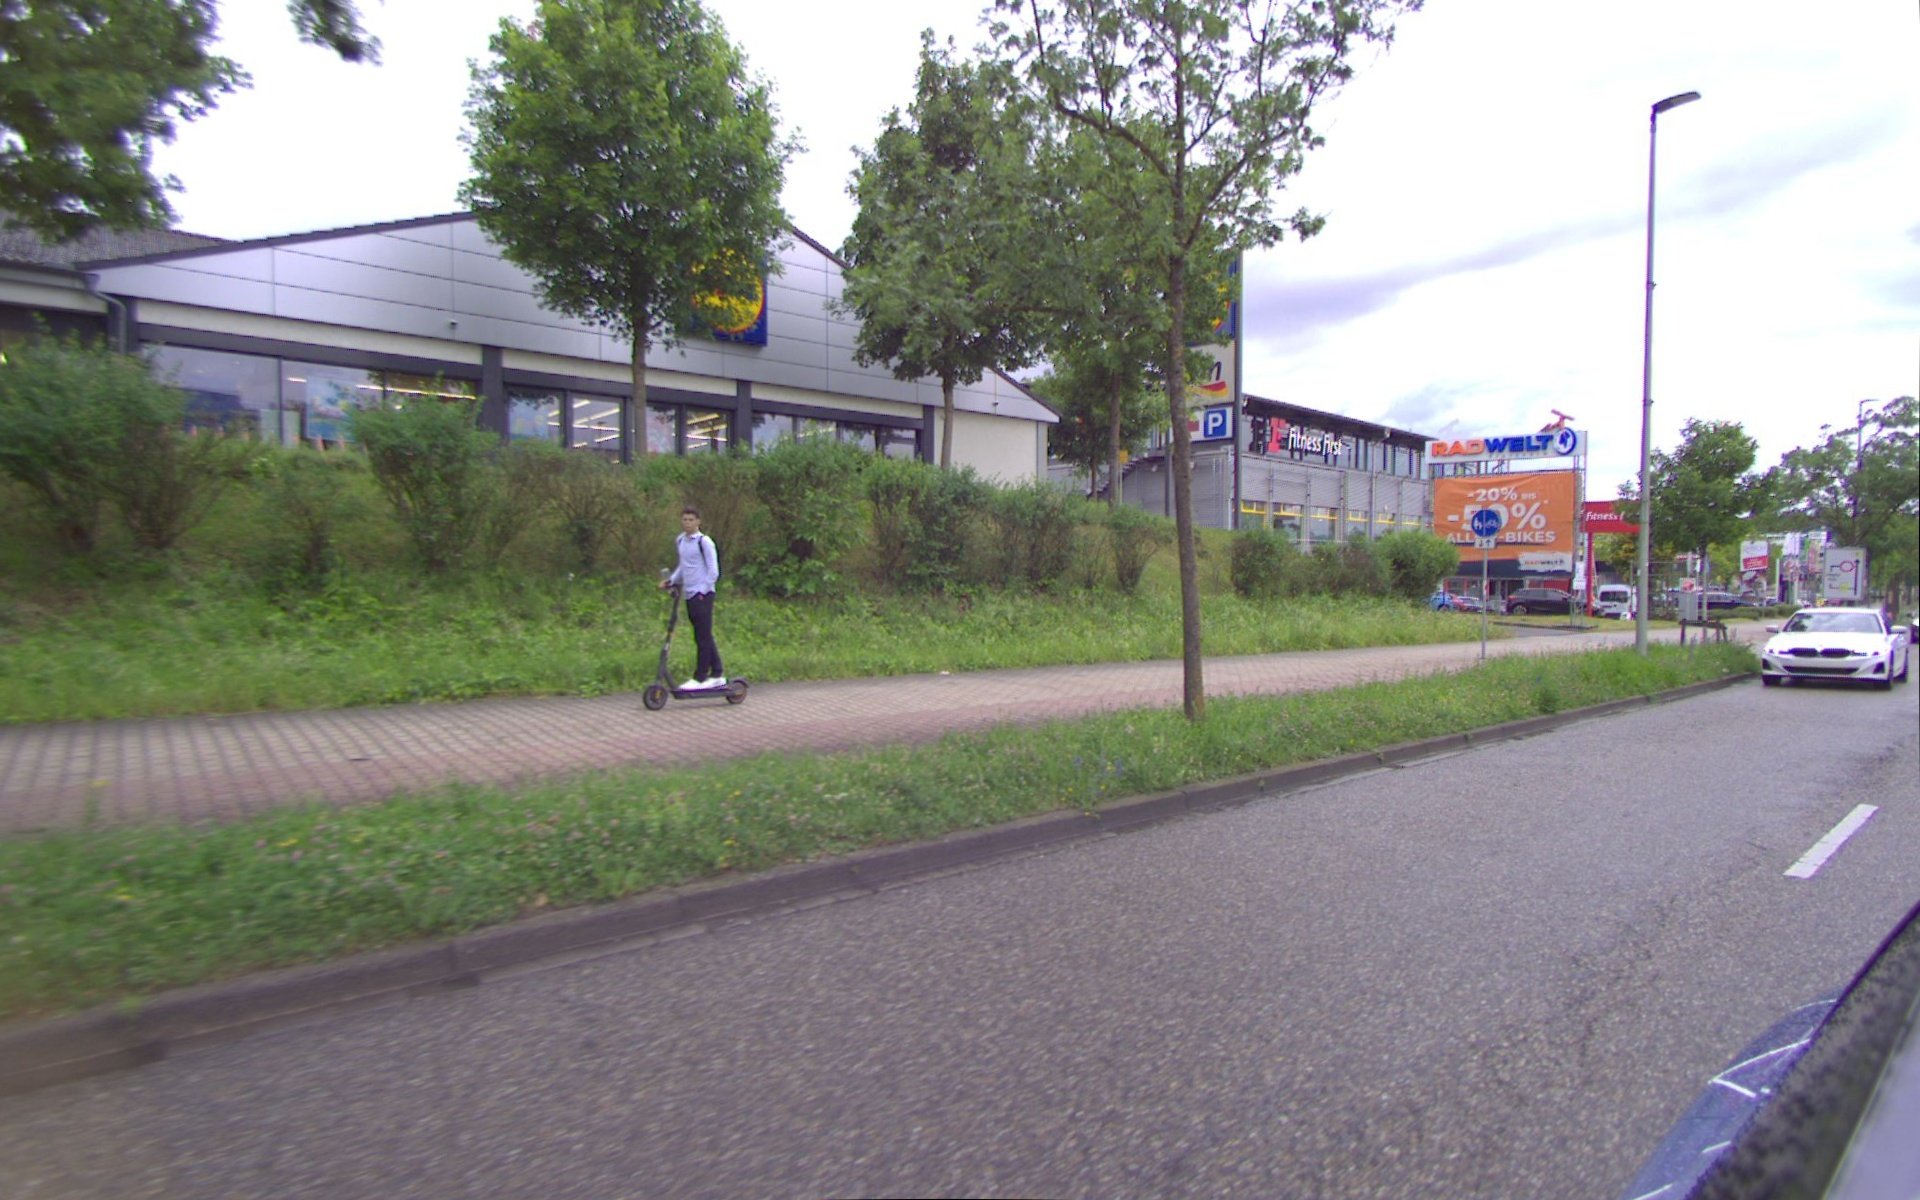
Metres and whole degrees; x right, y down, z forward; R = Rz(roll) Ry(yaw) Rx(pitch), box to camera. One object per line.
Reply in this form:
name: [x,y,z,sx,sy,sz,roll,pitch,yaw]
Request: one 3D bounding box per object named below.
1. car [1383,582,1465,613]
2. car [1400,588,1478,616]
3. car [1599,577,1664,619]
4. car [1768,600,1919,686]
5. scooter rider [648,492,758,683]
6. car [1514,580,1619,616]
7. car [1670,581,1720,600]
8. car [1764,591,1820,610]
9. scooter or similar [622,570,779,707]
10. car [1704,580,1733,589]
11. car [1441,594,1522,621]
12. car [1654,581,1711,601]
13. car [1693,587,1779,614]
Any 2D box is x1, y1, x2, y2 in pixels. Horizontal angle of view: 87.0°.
car: [26.340,-0.109,57.519,3.841,1.579,1.737,2,-1,4]
car: [28.511,0.115,60.323,3.807,1.521,1.736,2,-1,6]
car: [43.153,-0.069,64.975,5.584,2.569,2.229,1,-1,-43]
car: [16.906,0.728,19.166,4.463,1.459,1.806,0,-1,-42]
scooter rider: [-2.625,-0.144,10.315,0.843,1.842,0.697,0,3,-39]
car: [27.920,-0.101,46.648,4.075,1.457,1.775,2,-1,34]
car: [81.917,-1.024,112.854,4.039,1.766,1.801,3,4,2]
car: [87.456,0.041,106.369,4.106,1.598,1.741,4,3,7]
scooter or similar: [-2.644,0.355,10.342,1.375,1.279,0.697,0,3,-39]
car: [137.563,-2.750,183.460,1.771,1.529,3.990,0,2,-44]
car: [33.083,0.474,64.238,4.182,1.489,1.738,2,-1,3]
car: [75.421,-0.942,105.687,4.422,1.701,1.798,4,4,8]
car: [58.242,0.043,76.048,1.889,1.620,4.675,1,4,-34]
